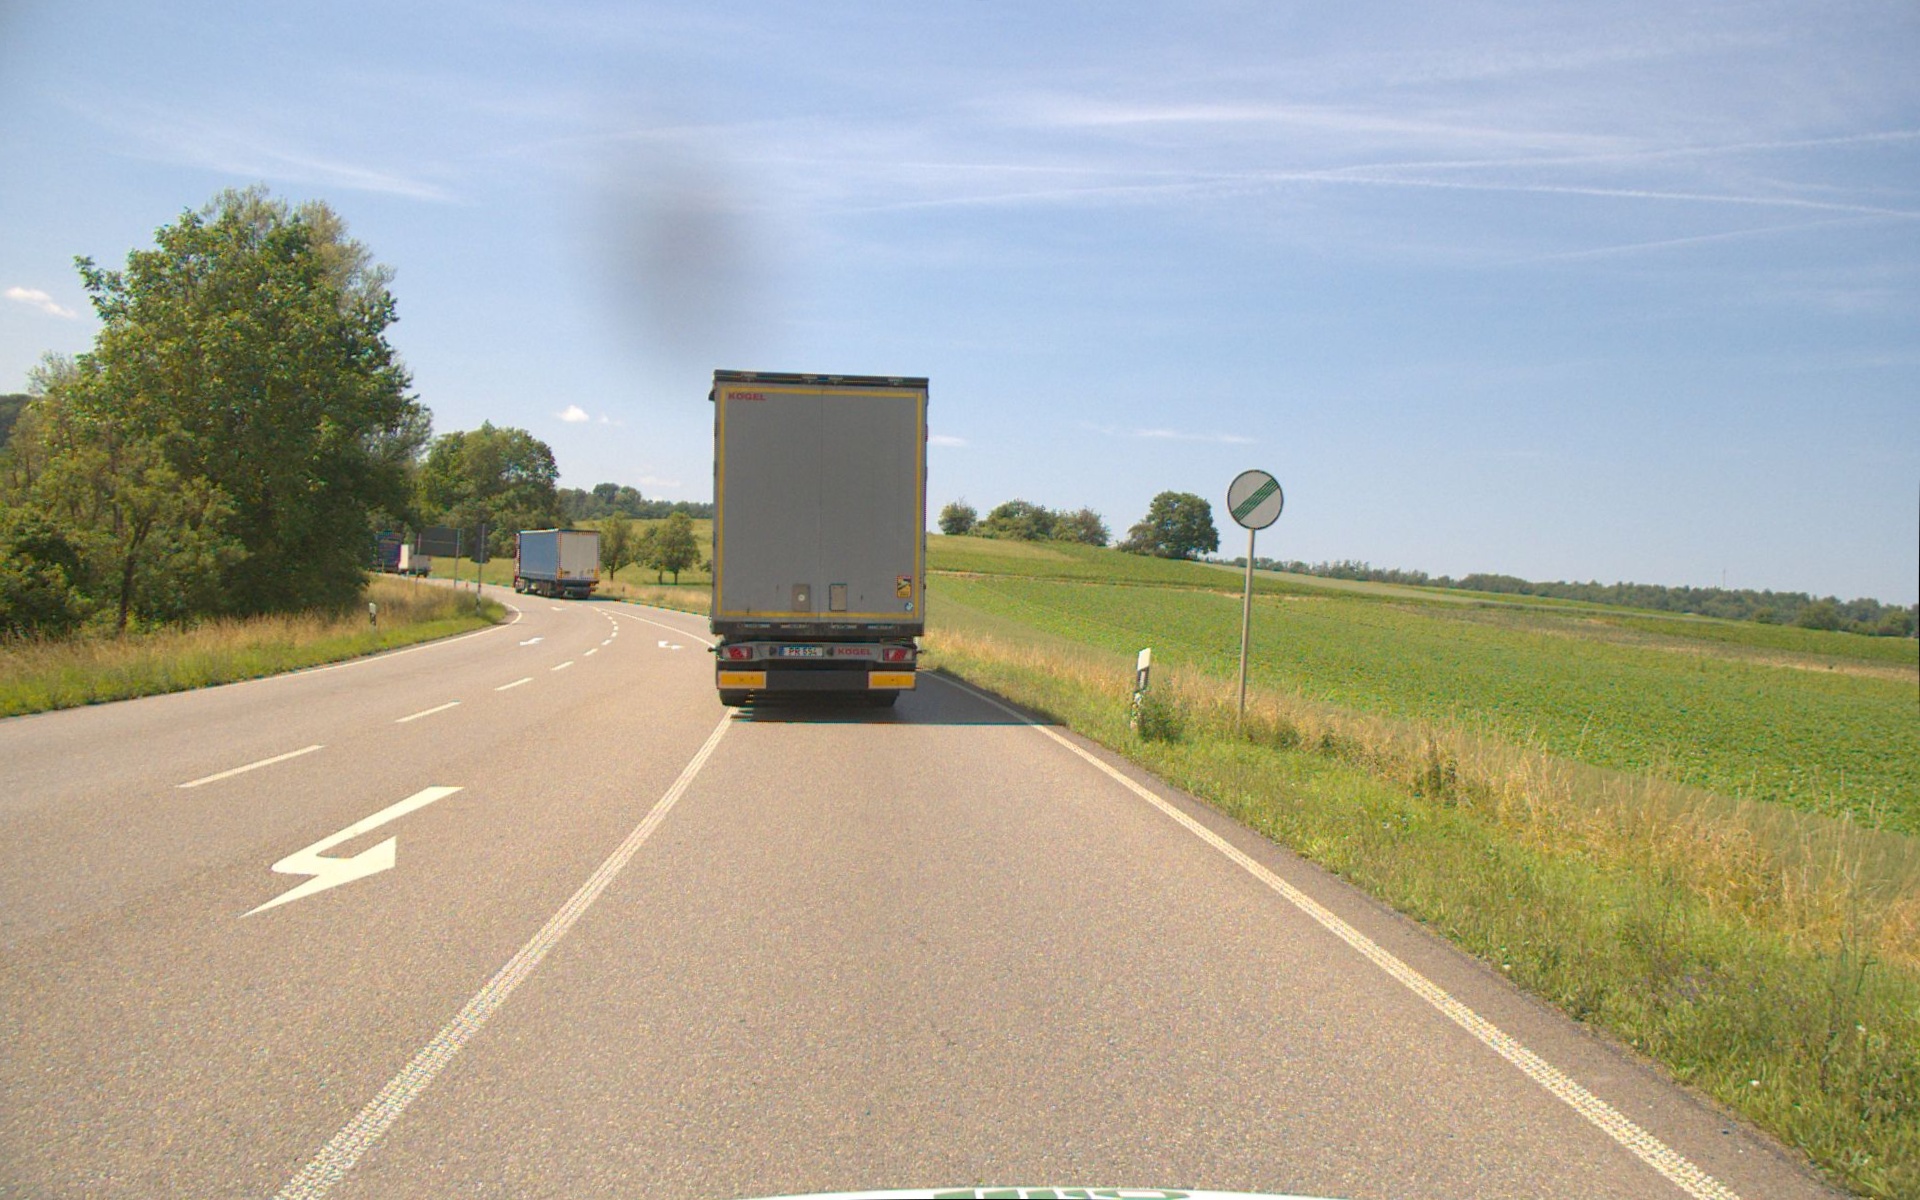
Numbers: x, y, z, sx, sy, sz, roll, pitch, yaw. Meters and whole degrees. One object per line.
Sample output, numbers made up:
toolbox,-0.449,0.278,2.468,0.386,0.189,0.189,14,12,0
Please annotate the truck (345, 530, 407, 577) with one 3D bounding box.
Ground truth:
truck,-61.388,-4.775,173.532,3.492,4.314,13.268,4,-2,-30

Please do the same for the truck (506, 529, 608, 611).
truck,-25.706,-1.847,104.642,2.924,4.664,16.185,3,-1,-25

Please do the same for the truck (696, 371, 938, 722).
truck,-2.359,-0.615,23.928,2.756,4.015,9.571,1,0,-9

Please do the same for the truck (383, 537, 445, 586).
truck,-52.870,-3.668,159.874,3.594,4.201,12.981,4,-2,-27
